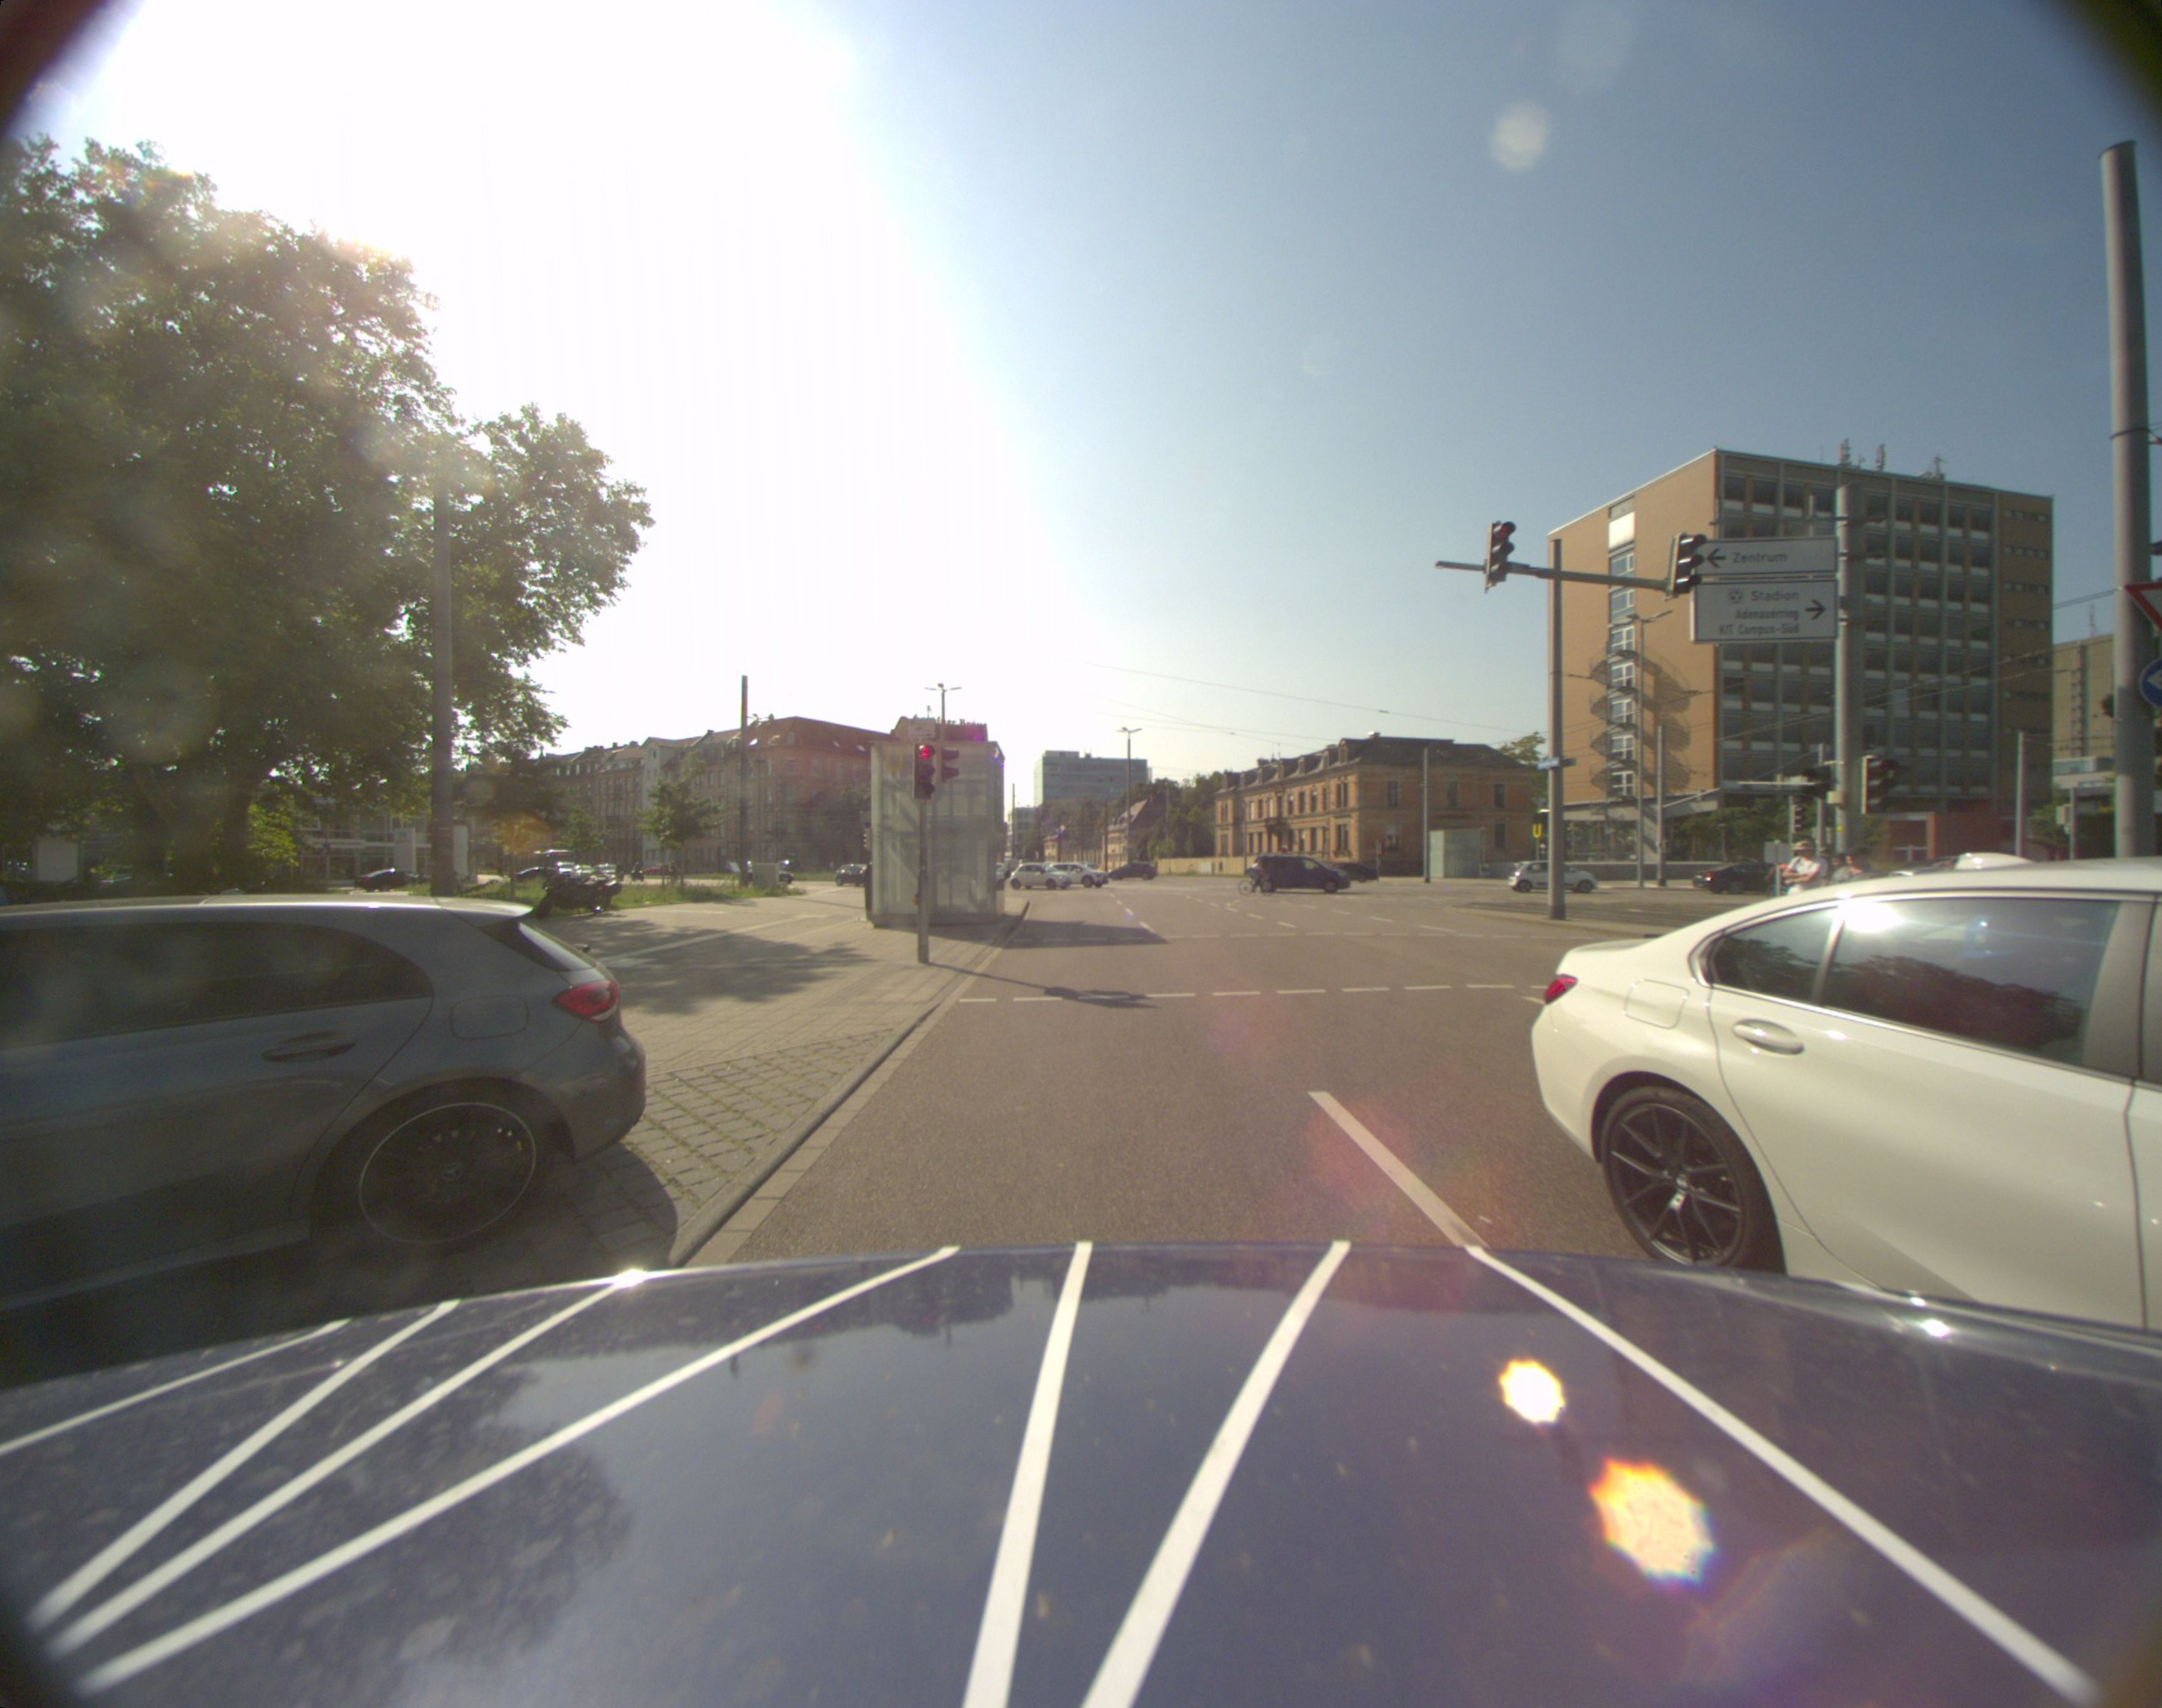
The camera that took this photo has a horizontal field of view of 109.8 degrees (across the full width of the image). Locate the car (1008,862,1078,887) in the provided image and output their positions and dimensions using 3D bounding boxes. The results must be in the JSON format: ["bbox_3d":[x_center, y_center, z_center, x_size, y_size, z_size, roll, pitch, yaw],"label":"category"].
[{"bbox_3d":[-2.155,1.152,43.592,3.607,1.407,1.806,0,0,21],"label":"car"}]

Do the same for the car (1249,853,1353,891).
[{"bbox_3d":[10.881,0.866,37.597,4.761,1.817,1.806,0,0,23],"label":"car"}]

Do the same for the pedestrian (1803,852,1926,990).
[{"bbox_3d":[9.981,0.829,9.704,0.816,1.683,0.651,2,1,1],"label":"pedestrian"}]

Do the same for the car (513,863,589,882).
[{"bbox_3d":[-39.916,1.390,57.315,1.994,1.362,4.408,0,0,43],"label":"car"}]

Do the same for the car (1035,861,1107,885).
[{"bbox_3d":[-0.635,1.117,46.150,3.989,1.407,1.807,0,0,28],"label":"car"}]

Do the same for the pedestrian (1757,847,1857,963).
[{"bbox_3d":[11.679,0.800,12.255,0.834,1.778,0.729,2,1,8],"label":"pedestrian"}]

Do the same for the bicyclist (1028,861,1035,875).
[{"bbox_3d":[-5.591,1.567,85.862,0.662,1.627,0.918,0,0,-6],"label":"bicyclist"}]

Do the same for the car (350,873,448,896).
[{"bbox_3d":[-45.047,1.963,50.318,1.995,1.362,4.406,0,0,26],"label":"car"}]

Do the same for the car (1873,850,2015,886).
[{"bbox_3d":[42.980,0.709,37.981,4.281,1.696,1.955,0,-2,16],"label":"car"}]

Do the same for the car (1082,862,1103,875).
[{"bbox_3d":[1.240,1.548,81.960,1.693,1.319,3.997,0,0,-8],"label":"car"}]

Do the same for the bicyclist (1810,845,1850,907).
[{"bbox_3d":[23.995,0.702,24.360,0.580,1.963,0.808,-1,0,15],"label":"bicyclist"}]

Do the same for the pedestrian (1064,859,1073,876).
[{"bbox_3d":[-1.311,1.374,78.274,0.792,1.677,0.661,0,0,10],"label":"pedestrian"}]

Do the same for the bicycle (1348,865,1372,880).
[{"bbox_3d":[22.611,1.514,61.552,1.767,1.187,0.402,0,0,34],"label":"bicycle"}]

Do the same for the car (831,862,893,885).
[{"bbox_3d":[-14.508,1.257,50.306,3.893,1.433,1.807,0,0,31],"label":"car"}]

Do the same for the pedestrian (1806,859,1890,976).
[{"bbox_3d":[10.776,0.881,10.688,0.634,1.588,0.468,2,1,-1],"label":"pedestrian"}]

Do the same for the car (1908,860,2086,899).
[{"bbox_3d":[34.690,0.928,28.899,3.992,1.407,1.806,0,0,17],"label":"car"}]

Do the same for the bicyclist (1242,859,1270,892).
[{"bbox_3d":[7.858,0.955,34.091,0.969,1.466,1.089,0,1,27],"label":"bicyclist"}]

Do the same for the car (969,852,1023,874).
[{"bbox_3d":[-7.410,0.800,66.332,4.280,1.874,1.798,0,-2,21],"label":"car"}]

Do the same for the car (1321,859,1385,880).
[{"bbox_3d":[19.661,1.128,54.994,4.315,1.456,1.677,0,-2,20],"label":"car"}]

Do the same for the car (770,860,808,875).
[{"bbox_3d":[-30.104,1.385,78.335,3.965,1.572,1.748,-1,-1,34],"label":"car"}]

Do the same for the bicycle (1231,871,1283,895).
[{"bbox_3d":[7.893,1.290,34.104,2.192,0.983,0.530,1,1,25],"label":"bicycle"}]

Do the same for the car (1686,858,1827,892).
[{"bbox_3d":[30.045,0.915,33.965,4.340,1.443,1.806,0,0,19],"label":"car"}]

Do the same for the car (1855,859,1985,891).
[{"bbox_3d":[44.878,1.126,40.758,4.280,1.696,1.929,0,-2,18],"label":"car"}]

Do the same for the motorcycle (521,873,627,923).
[{"bbox_3d":[-12.767,1.082,19.247,0.704,1.140,2.304,0,0,16],"label":"motorcycle"}]

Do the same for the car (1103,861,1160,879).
[{"bbox_3d":[4.093,1.287,61.557,4.280,1.456,1.677,0,-2,20],"label":"car"}]

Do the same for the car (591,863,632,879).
[{"bbox_3d":[-43.580,1.563,70.506,3.621,1.433,1.807,0,0,31],"label":"car"}]

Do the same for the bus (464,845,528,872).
[{"bbox_3d":[-66.726,0.515,86.502,11.464,2.966,2.904,0,0,37],"label":"bus"}]

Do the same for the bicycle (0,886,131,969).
[{"bbox_3d":[-17.143,1.184,12.389,0.524,1.227,2.300,0,0,-4],"label":"bicycle"}]

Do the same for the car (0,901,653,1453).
[{"bbox_3d":[-4.114,1.016,2.491,4.418,1.415,1.843,-1,0,-41],"label":"car"}]

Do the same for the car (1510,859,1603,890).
[{"bbox_3d":[22.597,0.959,36.263,3.548,1.427,1.806,0,0,23],"label":"car"}]

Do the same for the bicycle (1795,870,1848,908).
[{"bbox_3d":[24.085,1.122,24.742,0.376,1.158,1.861,-1,-1,16],"label":"bicycle"}]

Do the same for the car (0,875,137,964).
[{"bbox_3d":[-18.629,1.097,12.200,1.660,1.432,4.195,0,0,1],"label":"car"}]

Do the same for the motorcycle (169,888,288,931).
[{"bbox_3d":[-22.459,1.449,20.077,0.704,0.996,1.959,0,0,16],"label":"motorcycle"}]

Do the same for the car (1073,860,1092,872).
[{"bbox_3d":[0.150,1.353,87.808,1.693,1.319,3.997,0,0,-8],"label":"car"}]

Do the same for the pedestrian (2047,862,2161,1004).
[{"bbox_3d":[11.785,0.873,8.642,0.810,1.539,0.548,2,1,2],"label":"pedestrian"}]

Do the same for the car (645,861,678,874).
[{"bbox_3d":[-49.869,1.612,90.336,3.770,1.439,1.680,0,-1,30],"label":"car"}]

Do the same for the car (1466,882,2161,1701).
[{"bbox_3d":[2.969,0.871,1.262,1.814,1.419,4.772,-2,0,-6],"label":"car"}]
